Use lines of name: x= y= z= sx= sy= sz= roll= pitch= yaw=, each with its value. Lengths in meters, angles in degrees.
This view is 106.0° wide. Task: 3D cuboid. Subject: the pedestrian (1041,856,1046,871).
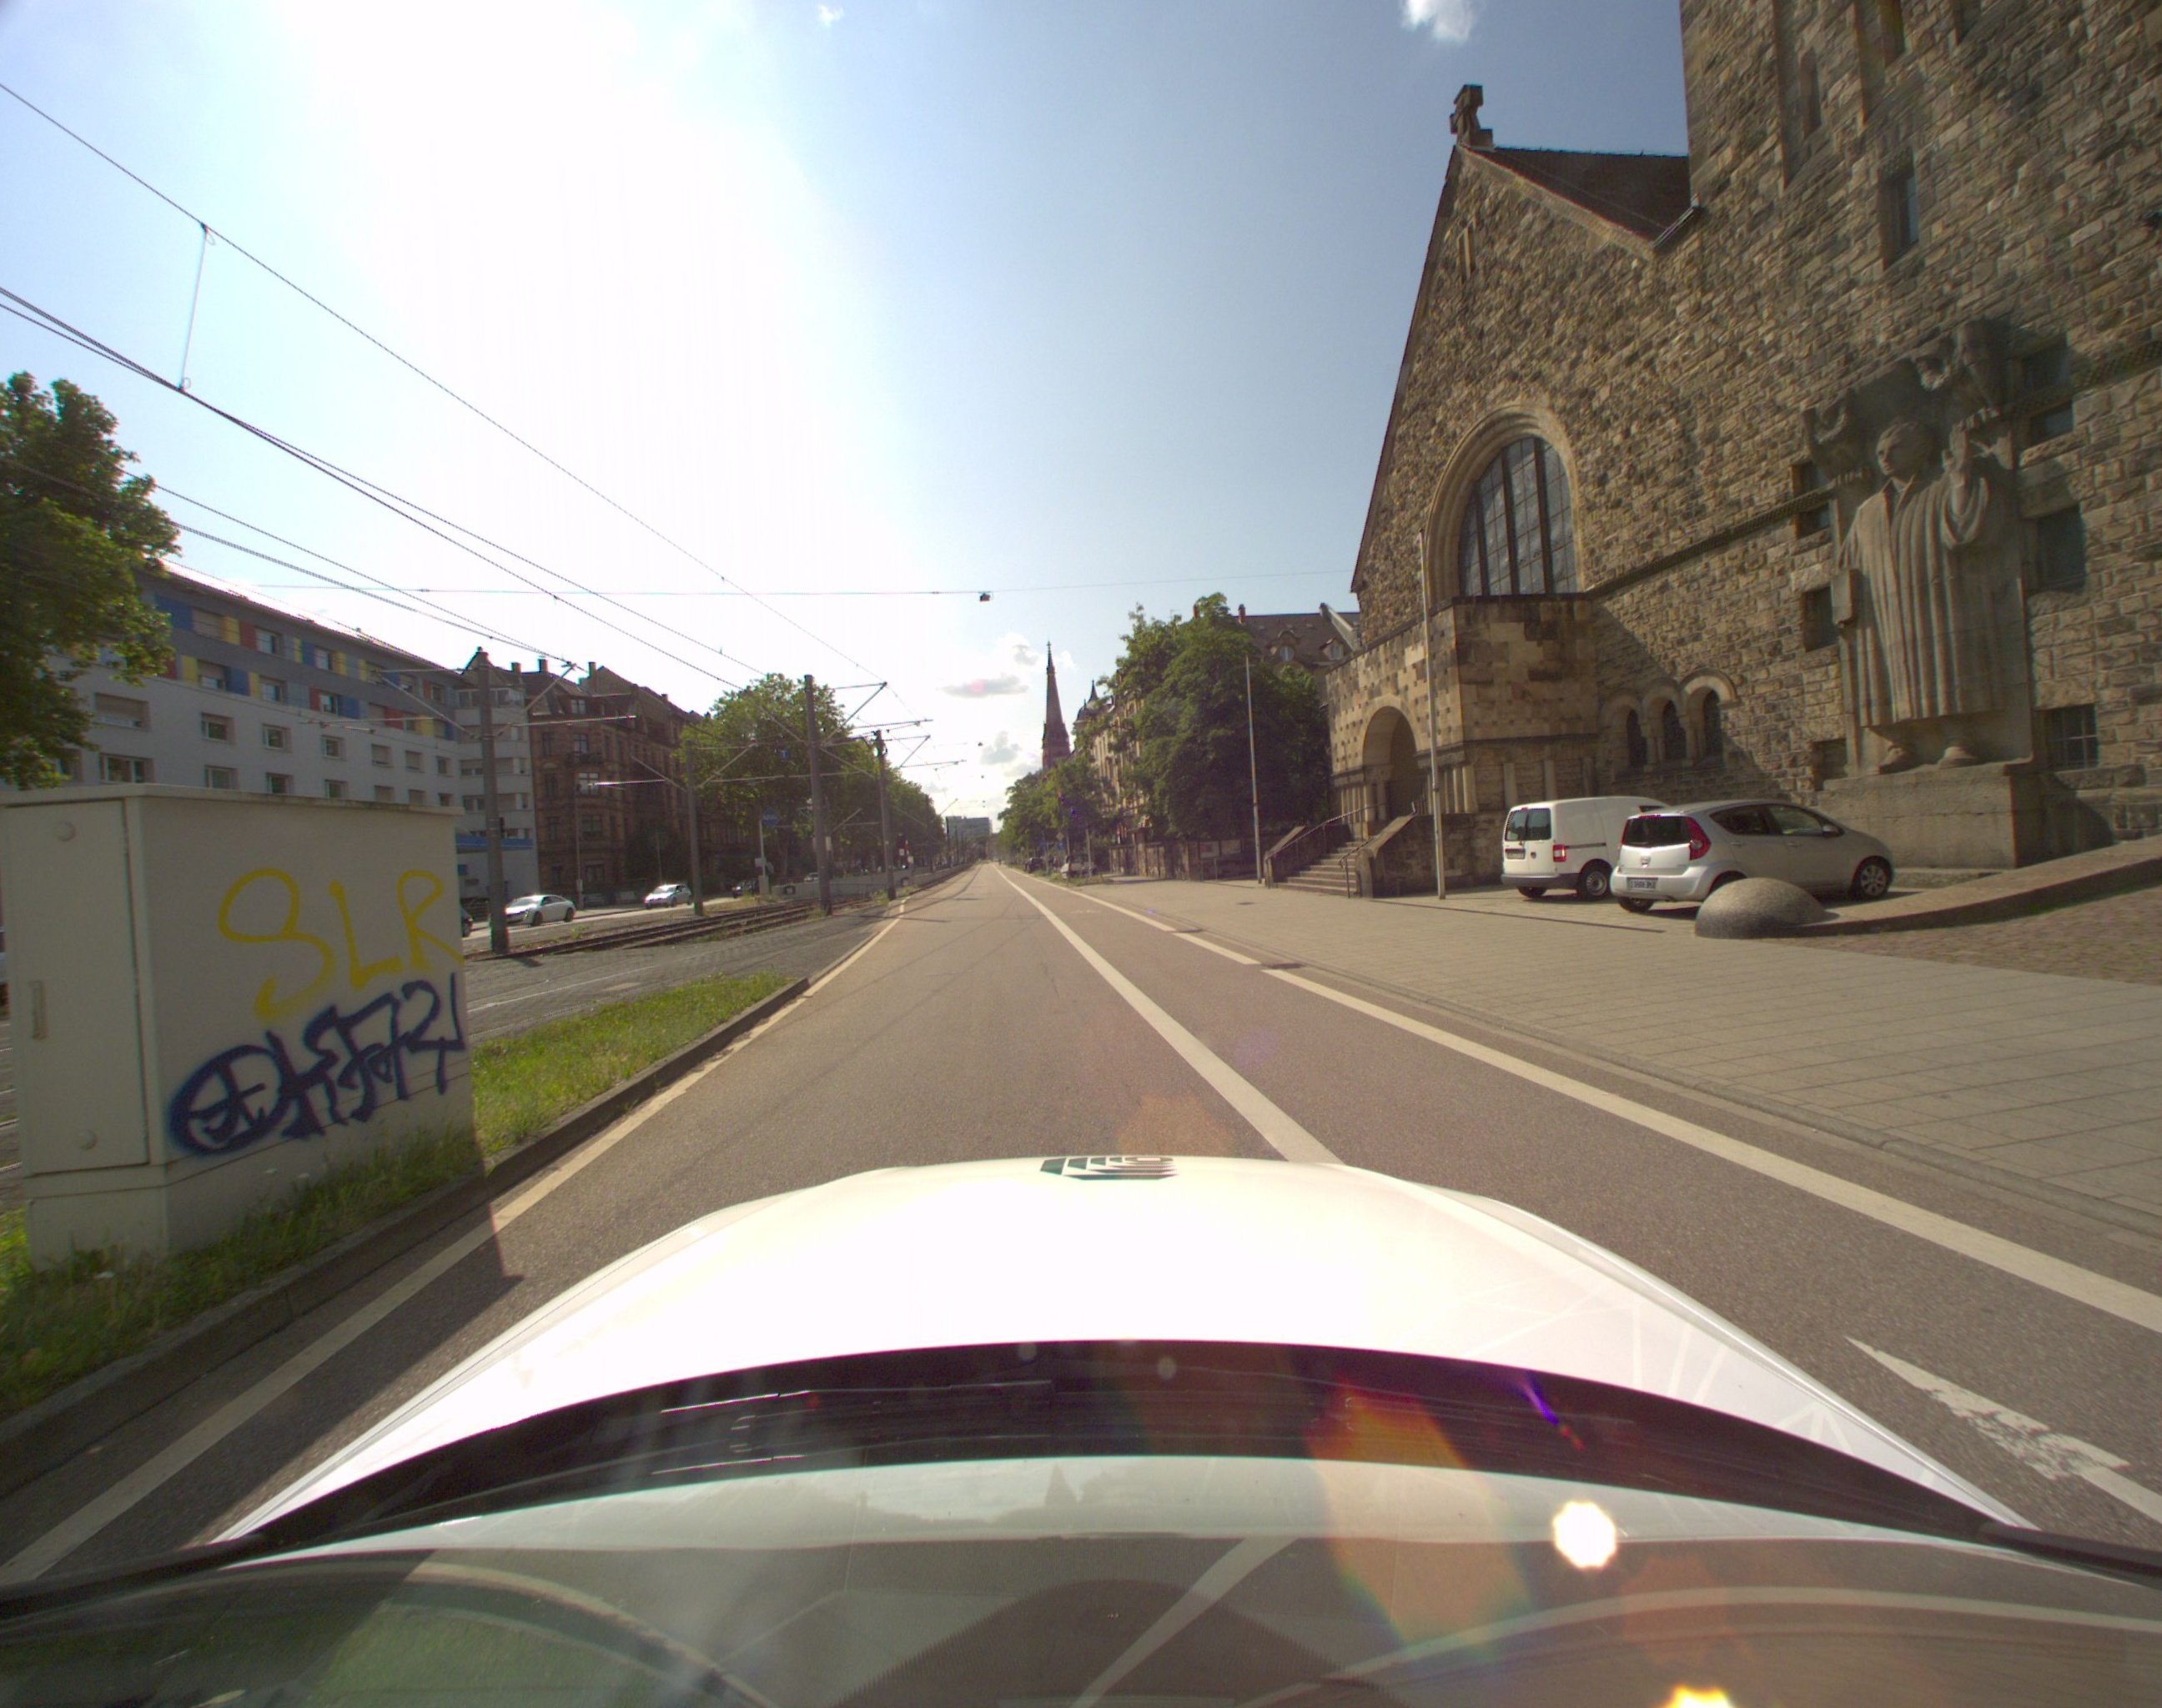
pedestrian: x=-4.324 y=1.079 z=93.654 sx=0.316 sy=1.706 sz=0.461 roll=-6 pitch=0 yaw=7

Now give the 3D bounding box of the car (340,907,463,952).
car: x=-24.752 y=2.719 z=29.833 sx=1.614 sy=1.189 sz=3.626 roll=-4 pitch=0 yaw=-5

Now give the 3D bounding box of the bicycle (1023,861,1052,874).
bicycle: x=-4.733 y=1.479 z=88.195 sx=2.956 sy=1.246 sz=0.788 roll=-4 pitch=0 yaw=-20

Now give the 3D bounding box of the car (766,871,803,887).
car: x=-41.161 y=3.472 z=113.218 sx=4.400 sy=1.918 sz=1.994 roll=-4 pitch=0 yaw=-9

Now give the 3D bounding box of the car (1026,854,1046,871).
car: x=-4.587 y=0.840 z=81.685 sx=1.684 sy=1.502 sz=4.698 roll=-4 pitch=0 yaw=-6

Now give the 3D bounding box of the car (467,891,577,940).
car: x=-25.562 y=2.753 z=37.519 sx=1.945 sy=1.606 sz=5.064 roll=-4 pitch=2 yaw=-7

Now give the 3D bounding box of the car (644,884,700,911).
car: x=-27.090 y=2.833 z=54.100 sx=1.719 sy=1.416 sz=4.397 roll=-5 pitch=0 yaw=-5

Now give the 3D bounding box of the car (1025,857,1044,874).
car: x=-4.449 y=1.084 z=78.133 sx=1.664 sy=1.416 sz=3.583 roll=-4 pitch=0 yaw=-1

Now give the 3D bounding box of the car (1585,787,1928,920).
car: x=9.804 y=-0.028 z=11.970 sx=3.765 sy=1.547 sz=1.792 roll=-4 pitch=0 yaw=-9

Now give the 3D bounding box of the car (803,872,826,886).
car: x=-30.093 y=2.849 z=91.994 sx=1.494 sy=1.303 sz=3.486 roll=-7 pitch=0 yaw=-4

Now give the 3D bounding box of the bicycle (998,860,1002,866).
bicycle: x=-17.553 y=1.959 z=176.886 sx=0.798 sy=1.236 sz=2.771 roll=-4 pitch=0 yaw=-6

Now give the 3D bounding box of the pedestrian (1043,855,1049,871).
pedestrian: x=-4.064 y=1.049 z=94.319 sx=0.459 sy=1.804 sz=0.318 roll=-6 pitch=0 yaw=-9

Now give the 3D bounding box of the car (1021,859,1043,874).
car: x=-5.539 y=1.390 z=91.633 sx=1.799 sy=1.526 sz=4.473 roll=-6 pitch=0 yaw=-10

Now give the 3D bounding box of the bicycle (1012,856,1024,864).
bicycle: x=-10.633 y=0.939 z=137.374 sx=1.821 sy=1.145 sz=0.647 roll=-6 pitch=0 yaw=-18

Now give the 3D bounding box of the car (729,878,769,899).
car: x=-26.511 y=2.745 z=65.105 sx=1.664 sy=1.416 sz=3.780 roll=-4 pitch=0 yaw=-1

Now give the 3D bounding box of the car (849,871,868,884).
car: x=-33.854 y=3.590 z=124.048 sx=1.713 sy=1.691 sz=3.729 roll=-6 pitch=1 yaw=0

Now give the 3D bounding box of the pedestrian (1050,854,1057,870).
pedestrian: x=-3.213 y=0.932 z=94.631 sx=0.669 sy=1.804 sz=0.318 roll=-6 pitch=0 yaw=-9

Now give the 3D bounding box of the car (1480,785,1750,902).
car: x=9.976 y=-0.210 z=15.349 sx=4.002 sy=1.823 sz=1.857 roll=-4 pitch=0 yaw=-10

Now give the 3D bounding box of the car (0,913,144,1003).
car: x=-23.632 y=2.369 z=17.530 sx=1.758 sy=1.606 sz=4.668 roll=-4 pitch=2 yaw=-7

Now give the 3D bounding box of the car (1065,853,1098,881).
car: x=0.060 y=0.716 z=45.825 sx=1.662 sy=1.416 sz=3.846 roll=-2 pitch=0 yaw=2

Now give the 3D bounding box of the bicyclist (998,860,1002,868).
bicyclist: x=-17.546 y=2.127 z=176.937 sx=0.770 sy=1.730 sz=1.024 roll=-4 pitch=0 yaw=-6

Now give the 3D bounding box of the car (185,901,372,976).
car: x=-23.948 y=2.455 z=24.551 sx=1.711 sy=1.606 sz=4.134 roll=-4 pitch=2 yaw=-7

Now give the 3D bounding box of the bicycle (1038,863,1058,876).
bicycle: x=-2.939 y=1.356 z=72.750 sx=1.707 sy=1.069 sz=0.469 roll=-4 pitch=0 yaw=-13
